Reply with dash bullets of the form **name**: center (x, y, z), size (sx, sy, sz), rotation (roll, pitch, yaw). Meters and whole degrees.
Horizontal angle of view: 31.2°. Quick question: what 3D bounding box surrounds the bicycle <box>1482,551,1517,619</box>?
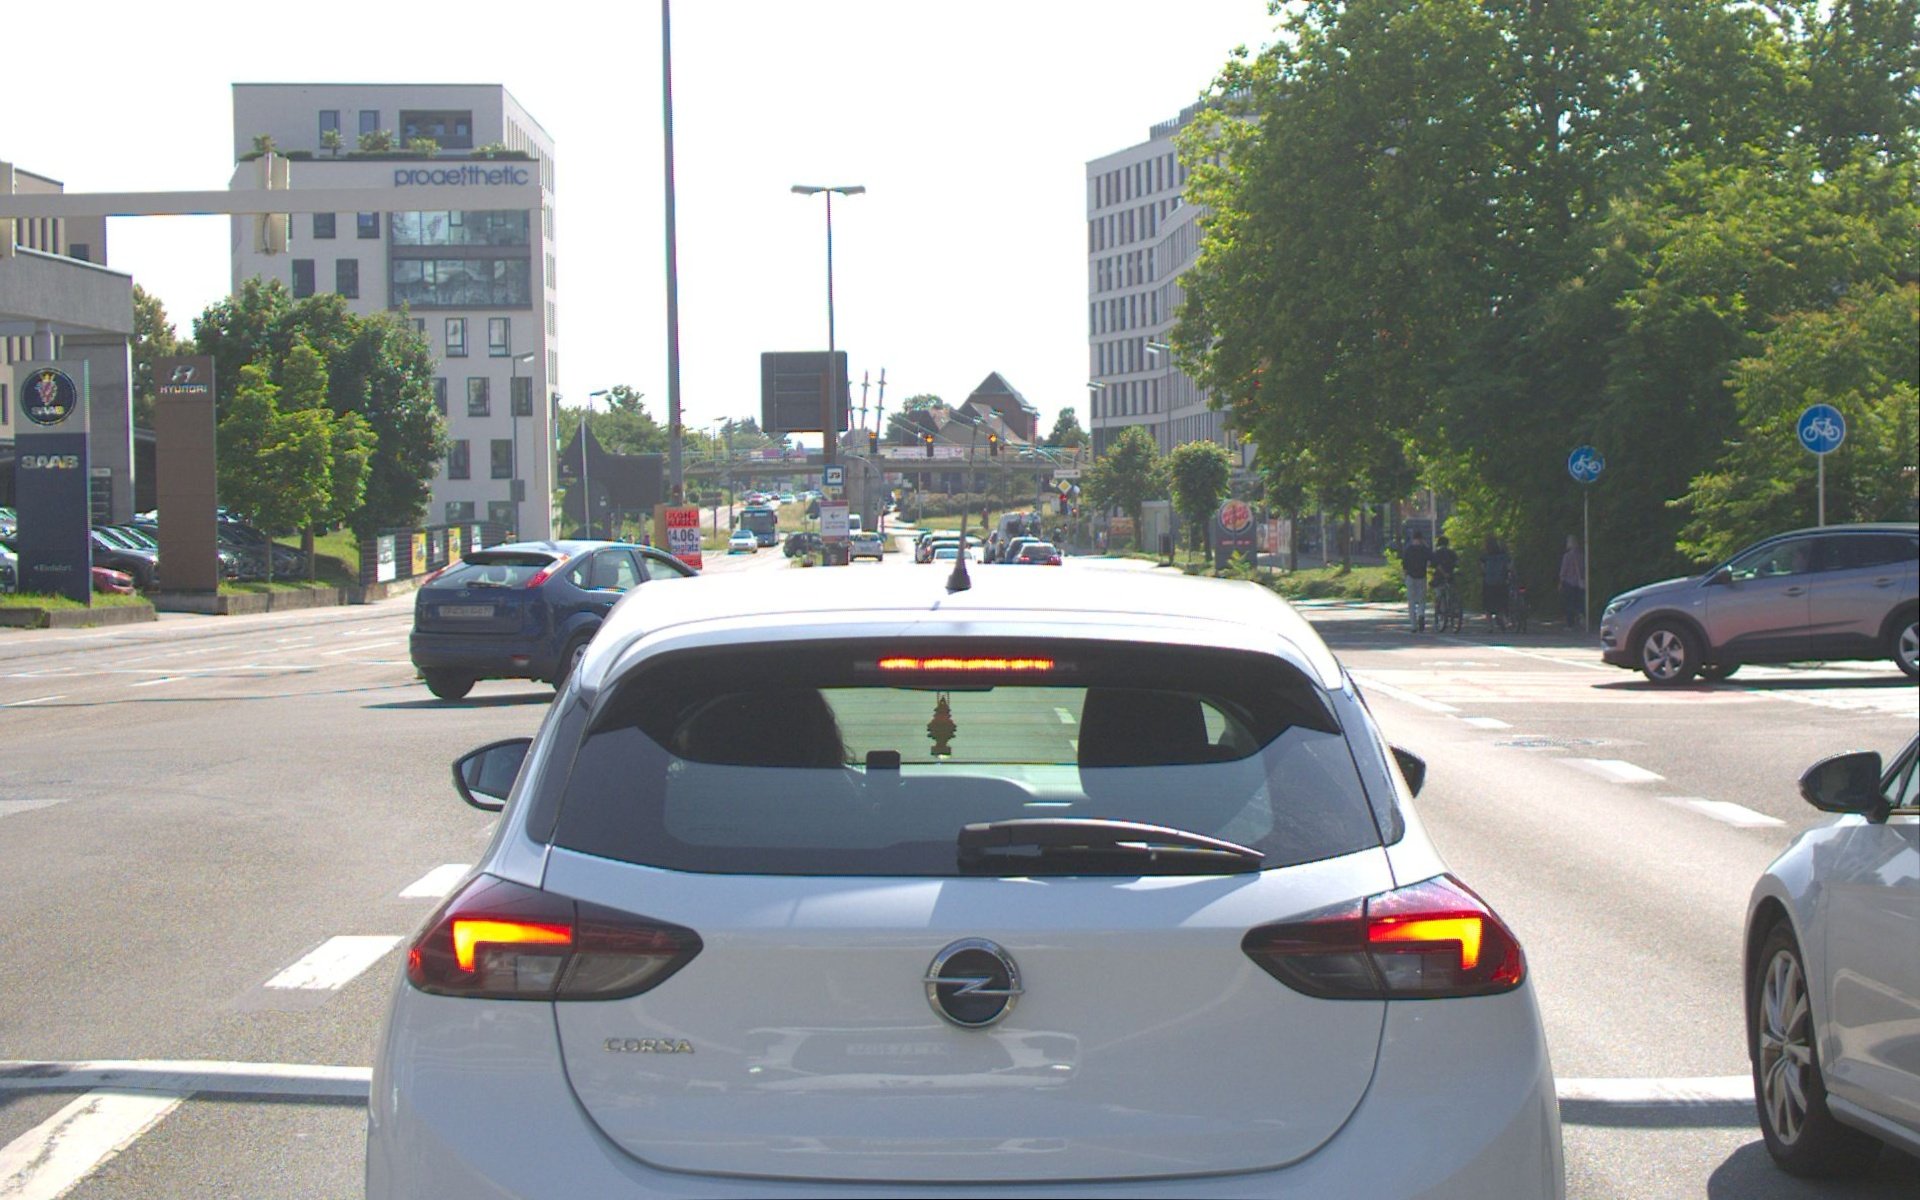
- **bicycle**: center (9.174, -0.260, 58.488), size (0.373, 1.143, 1.034), rotation (1, 0, -3)

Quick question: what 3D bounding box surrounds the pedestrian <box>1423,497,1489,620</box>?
- **pedestrian**: center (9.067, -0.765, 62.928), size (1.027, 2.231, 1.039), rotation (-1, 1, -1)

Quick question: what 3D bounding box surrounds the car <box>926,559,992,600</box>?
- **car**: center (-0.065, -0.703, 115.974), size (1.993, 1.327, 4.000), rotation (1, 0, -3)

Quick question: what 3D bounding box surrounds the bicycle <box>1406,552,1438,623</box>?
- **bicycle**: center (7.975, -0.227, 59.333), size (0.372, 1.212, 1.154), rotation (1, 1, -1)

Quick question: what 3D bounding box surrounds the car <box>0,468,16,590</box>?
- **car**: center (-22.559, -1.478, 73.044), size (4.357, 2.592, 2.000), rotation (-1, 1, 5)

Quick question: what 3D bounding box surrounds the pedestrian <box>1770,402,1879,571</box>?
- **pedestrian**: center (10.458, -1.361, 41.605), size (1.027, 2.007, 1.039), rotation (-1, 1, -1)

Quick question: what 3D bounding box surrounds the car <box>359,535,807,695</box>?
- **car**: center (-3.565, 0.103, 33.281), size (1.997, 1.442, 4.363), rotation (1, 1, 33)

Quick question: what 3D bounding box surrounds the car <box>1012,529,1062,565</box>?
- **car**: center (3.008, -2.073, 135.269), size (1.806, 1.381, 4.000), rotation (1, 0, -1)

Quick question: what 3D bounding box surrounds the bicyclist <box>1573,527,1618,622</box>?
- **bicyclist**: center (11.064, -0.445, 59.887), size (0.652, 1.631, 0.659), rotation (1, 0, 1)

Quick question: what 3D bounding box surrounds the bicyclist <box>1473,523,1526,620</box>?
- **bicyclist**: center (9.183, -0.493, 58.529), size (0.688, 1.637, 0.777), rotation (-1, 1, -9)

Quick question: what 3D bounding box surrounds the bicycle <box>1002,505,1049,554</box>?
- **bicycle**: center (2.947, -3.181, 155.428), size (1.993, 2.150, 4.000), rotation (-1, 1, -1)

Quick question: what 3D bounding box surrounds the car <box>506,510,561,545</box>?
- **car**: center (-17.626, -2.999, 142.264), size (1.806, 1.381, 4.000), rotation (1, 0, -1)

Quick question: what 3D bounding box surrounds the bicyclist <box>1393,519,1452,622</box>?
- **bicyclist**: center (7.971, -0.511, 59.341), size (0.879, 1.766, 0.864), rotation (-1, 1, 0)

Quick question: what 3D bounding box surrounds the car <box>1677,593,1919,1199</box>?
- **car**: center (2.794, 0.710, 6.902), size (1.807, 1.424, 4.000), rotation (-1, 1, -1)

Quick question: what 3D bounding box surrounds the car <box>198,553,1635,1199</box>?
- **car**: center (-0.076, 0.677, 6.283), size (1.779, 1.489, 4.000), rotation (-1, 1, -1)

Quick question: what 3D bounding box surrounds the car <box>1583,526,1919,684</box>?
- **car**: center (9.042, 0.036, 36.285), size (4.425, 1.546, 1.997), rotation (-2, 0, 26)
